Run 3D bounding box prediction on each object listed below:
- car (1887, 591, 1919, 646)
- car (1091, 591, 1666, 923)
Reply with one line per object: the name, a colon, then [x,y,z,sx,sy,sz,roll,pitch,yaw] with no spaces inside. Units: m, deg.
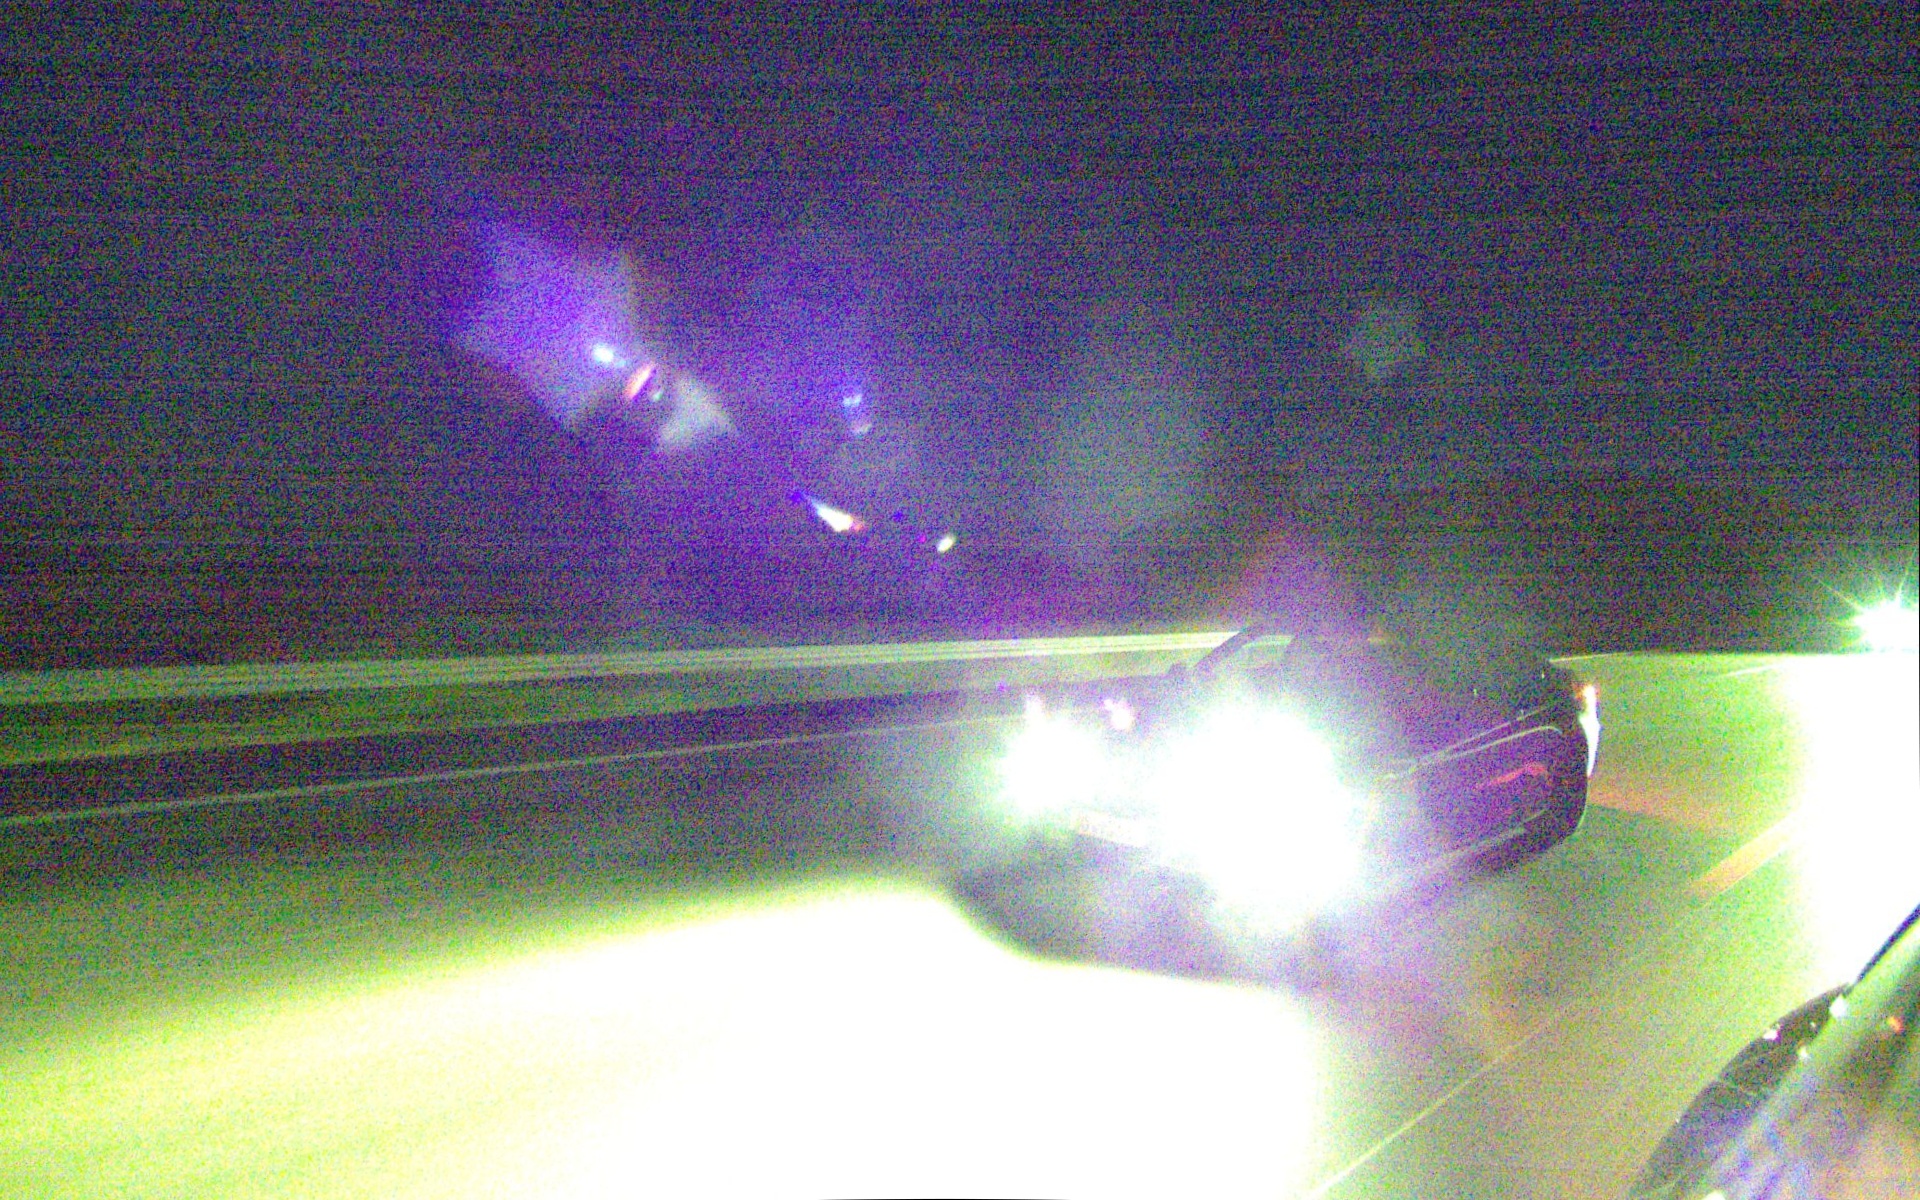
car: [29.032,0.529,29.990,4.151,1.560,1.793,0,0,-40]
car: [2.872,0.684,6.464,4.151,1.431,1.689,0,1,-40]
